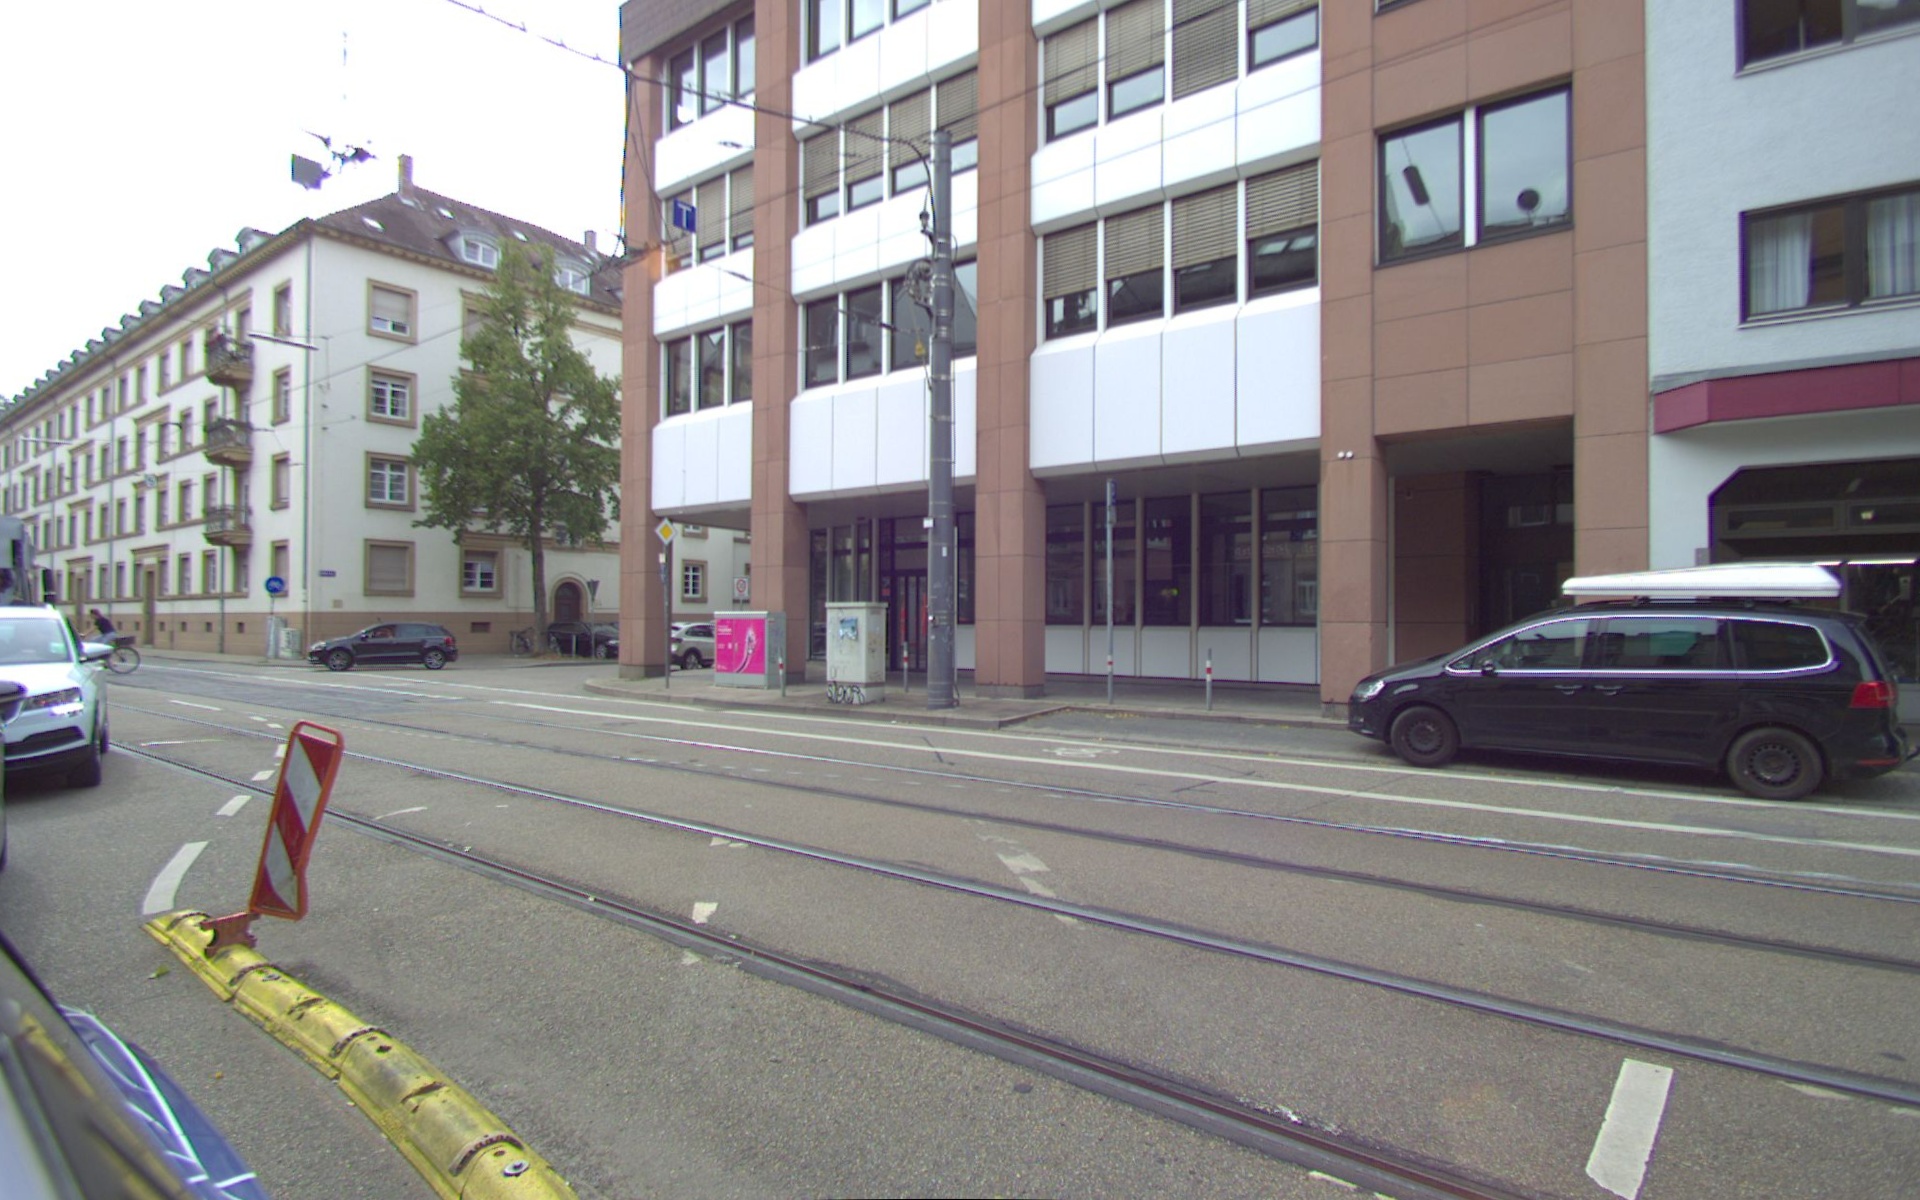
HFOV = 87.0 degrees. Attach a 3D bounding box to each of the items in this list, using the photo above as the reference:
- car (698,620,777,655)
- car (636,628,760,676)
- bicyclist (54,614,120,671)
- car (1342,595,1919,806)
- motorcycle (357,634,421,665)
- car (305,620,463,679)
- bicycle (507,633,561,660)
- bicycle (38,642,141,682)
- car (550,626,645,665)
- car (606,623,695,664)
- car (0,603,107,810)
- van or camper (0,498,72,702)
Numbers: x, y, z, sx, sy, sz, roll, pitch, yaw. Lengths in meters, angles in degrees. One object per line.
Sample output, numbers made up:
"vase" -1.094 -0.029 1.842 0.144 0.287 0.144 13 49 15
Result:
"car" -9.861 1.651 44.776 3.520 1.473 1.572 -1 -2 38
"car" -7.957 1.547 31.037 1.606 1.399 3.611 -1 -2 31
"bicyclist" -23.002 1.119 26.685 1.239 1.473 0.679 1 -3 -36
"car" 6.552 0.852 10.227 4.694 1.659 1.789 -2 0 40
"motorcycle" -20.903 1.801 37.076 0.792 1.094 1.900 -2 -2 39
"car" -17.118 1.422 30.240 3.979 1.549 1.780 -1 -1 -29
"bicycle" -17.457 1.890 41.528 0.792 1.094 1.900 -2 -2 39
"bicycle" -22.929 1.623 26.713 1.979 0.972 0.674 1 -3 -36
"car" -13.838 1.697 38.602 3.869 1.407 1.591 -1 -2 38
"car" -12.439 1.713 40.562 3.711 1.559 1.591 -1 -2 38
"car" -9.153 0.876 9.218 4.284 1.603 1.749 -2 -1 45
"van or camper" -20.207 0.094 19.878 9.642 3.447 2.575 -2 -2 39
